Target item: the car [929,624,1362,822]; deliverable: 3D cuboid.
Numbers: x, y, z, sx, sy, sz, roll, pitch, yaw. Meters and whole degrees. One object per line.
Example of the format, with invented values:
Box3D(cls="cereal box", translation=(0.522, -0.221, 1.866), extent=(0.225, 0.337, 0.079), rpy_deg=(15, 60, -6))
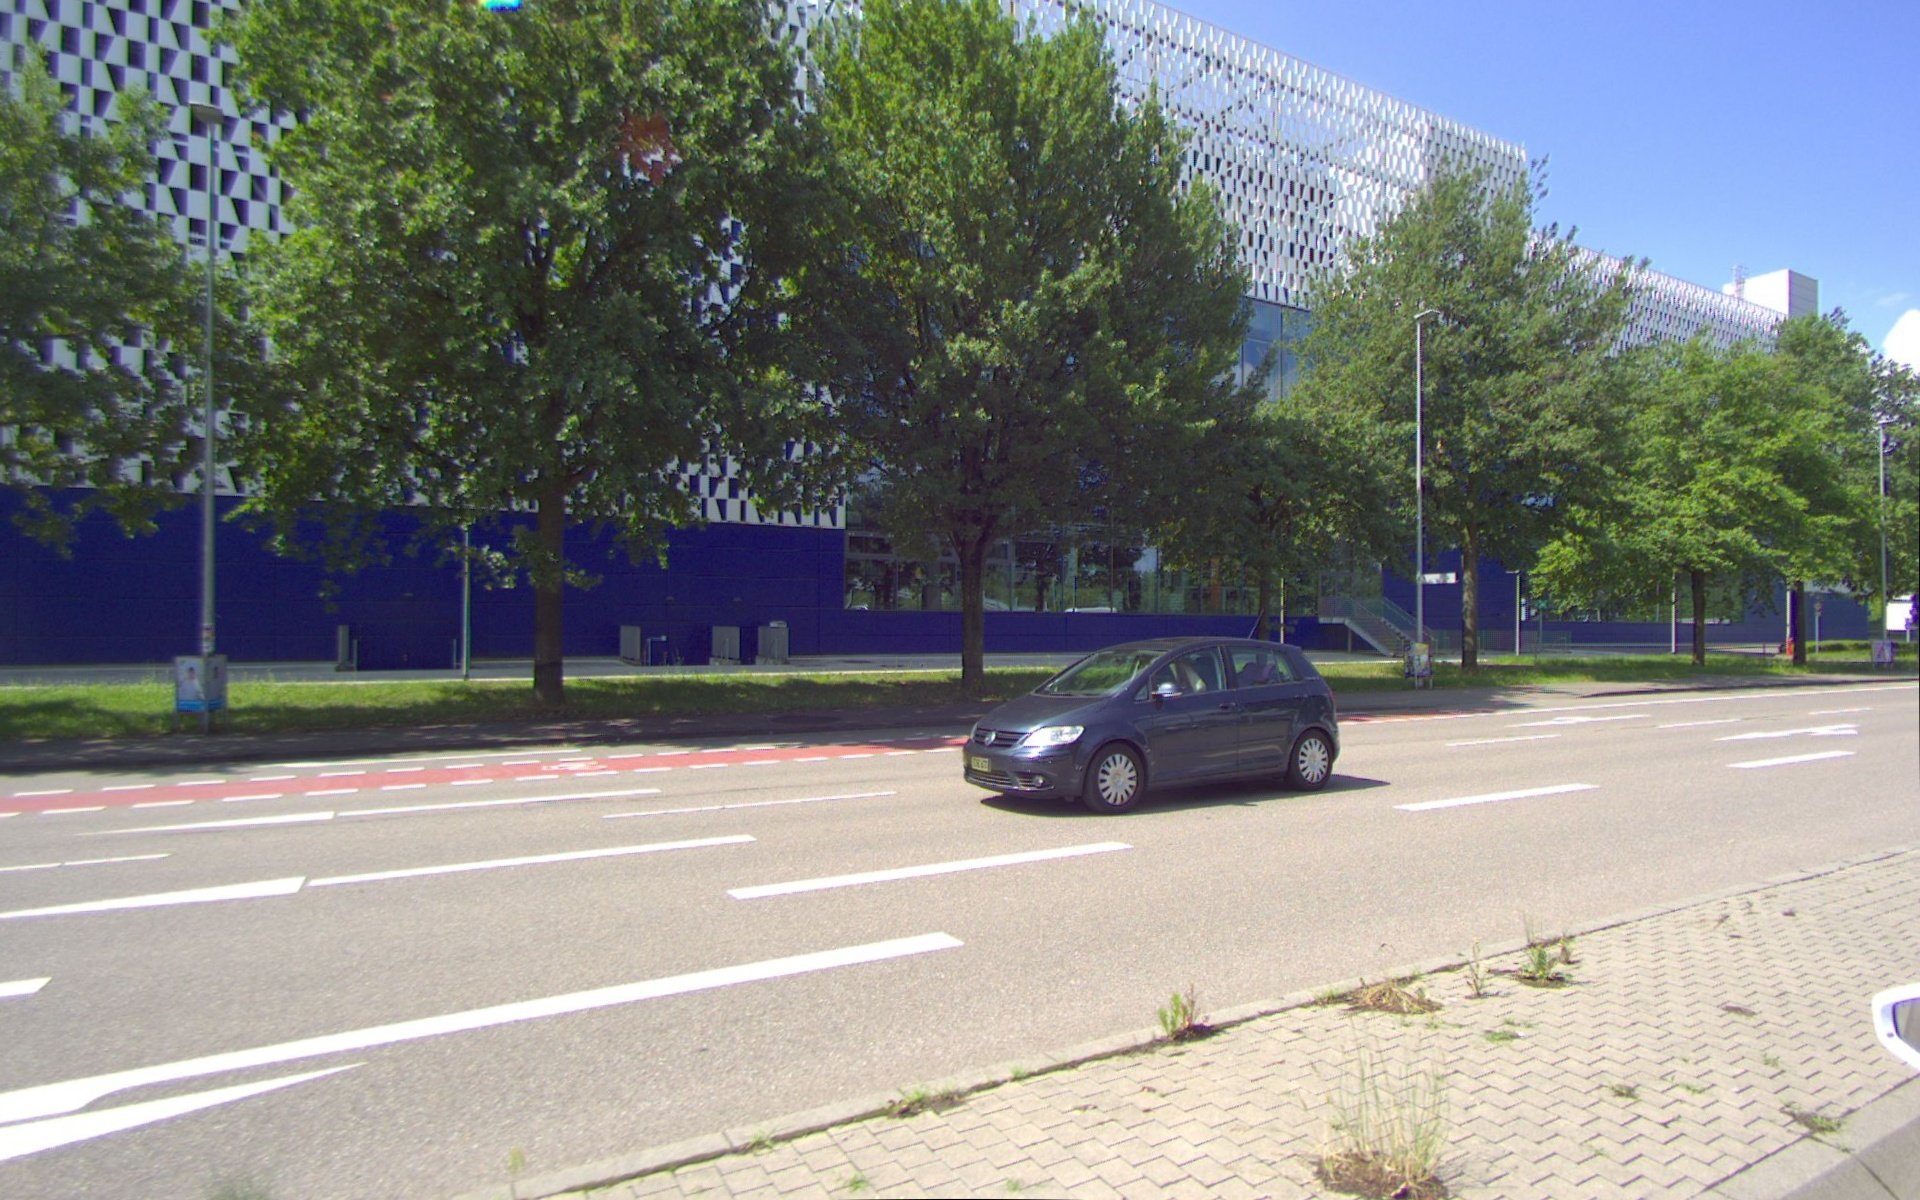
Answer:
Box3D(cls="car", translation=(1.938, 1.117, 10.132), extent=(4.193, 1.630, 1.730), rpy_deg=(1, -5, -32))
